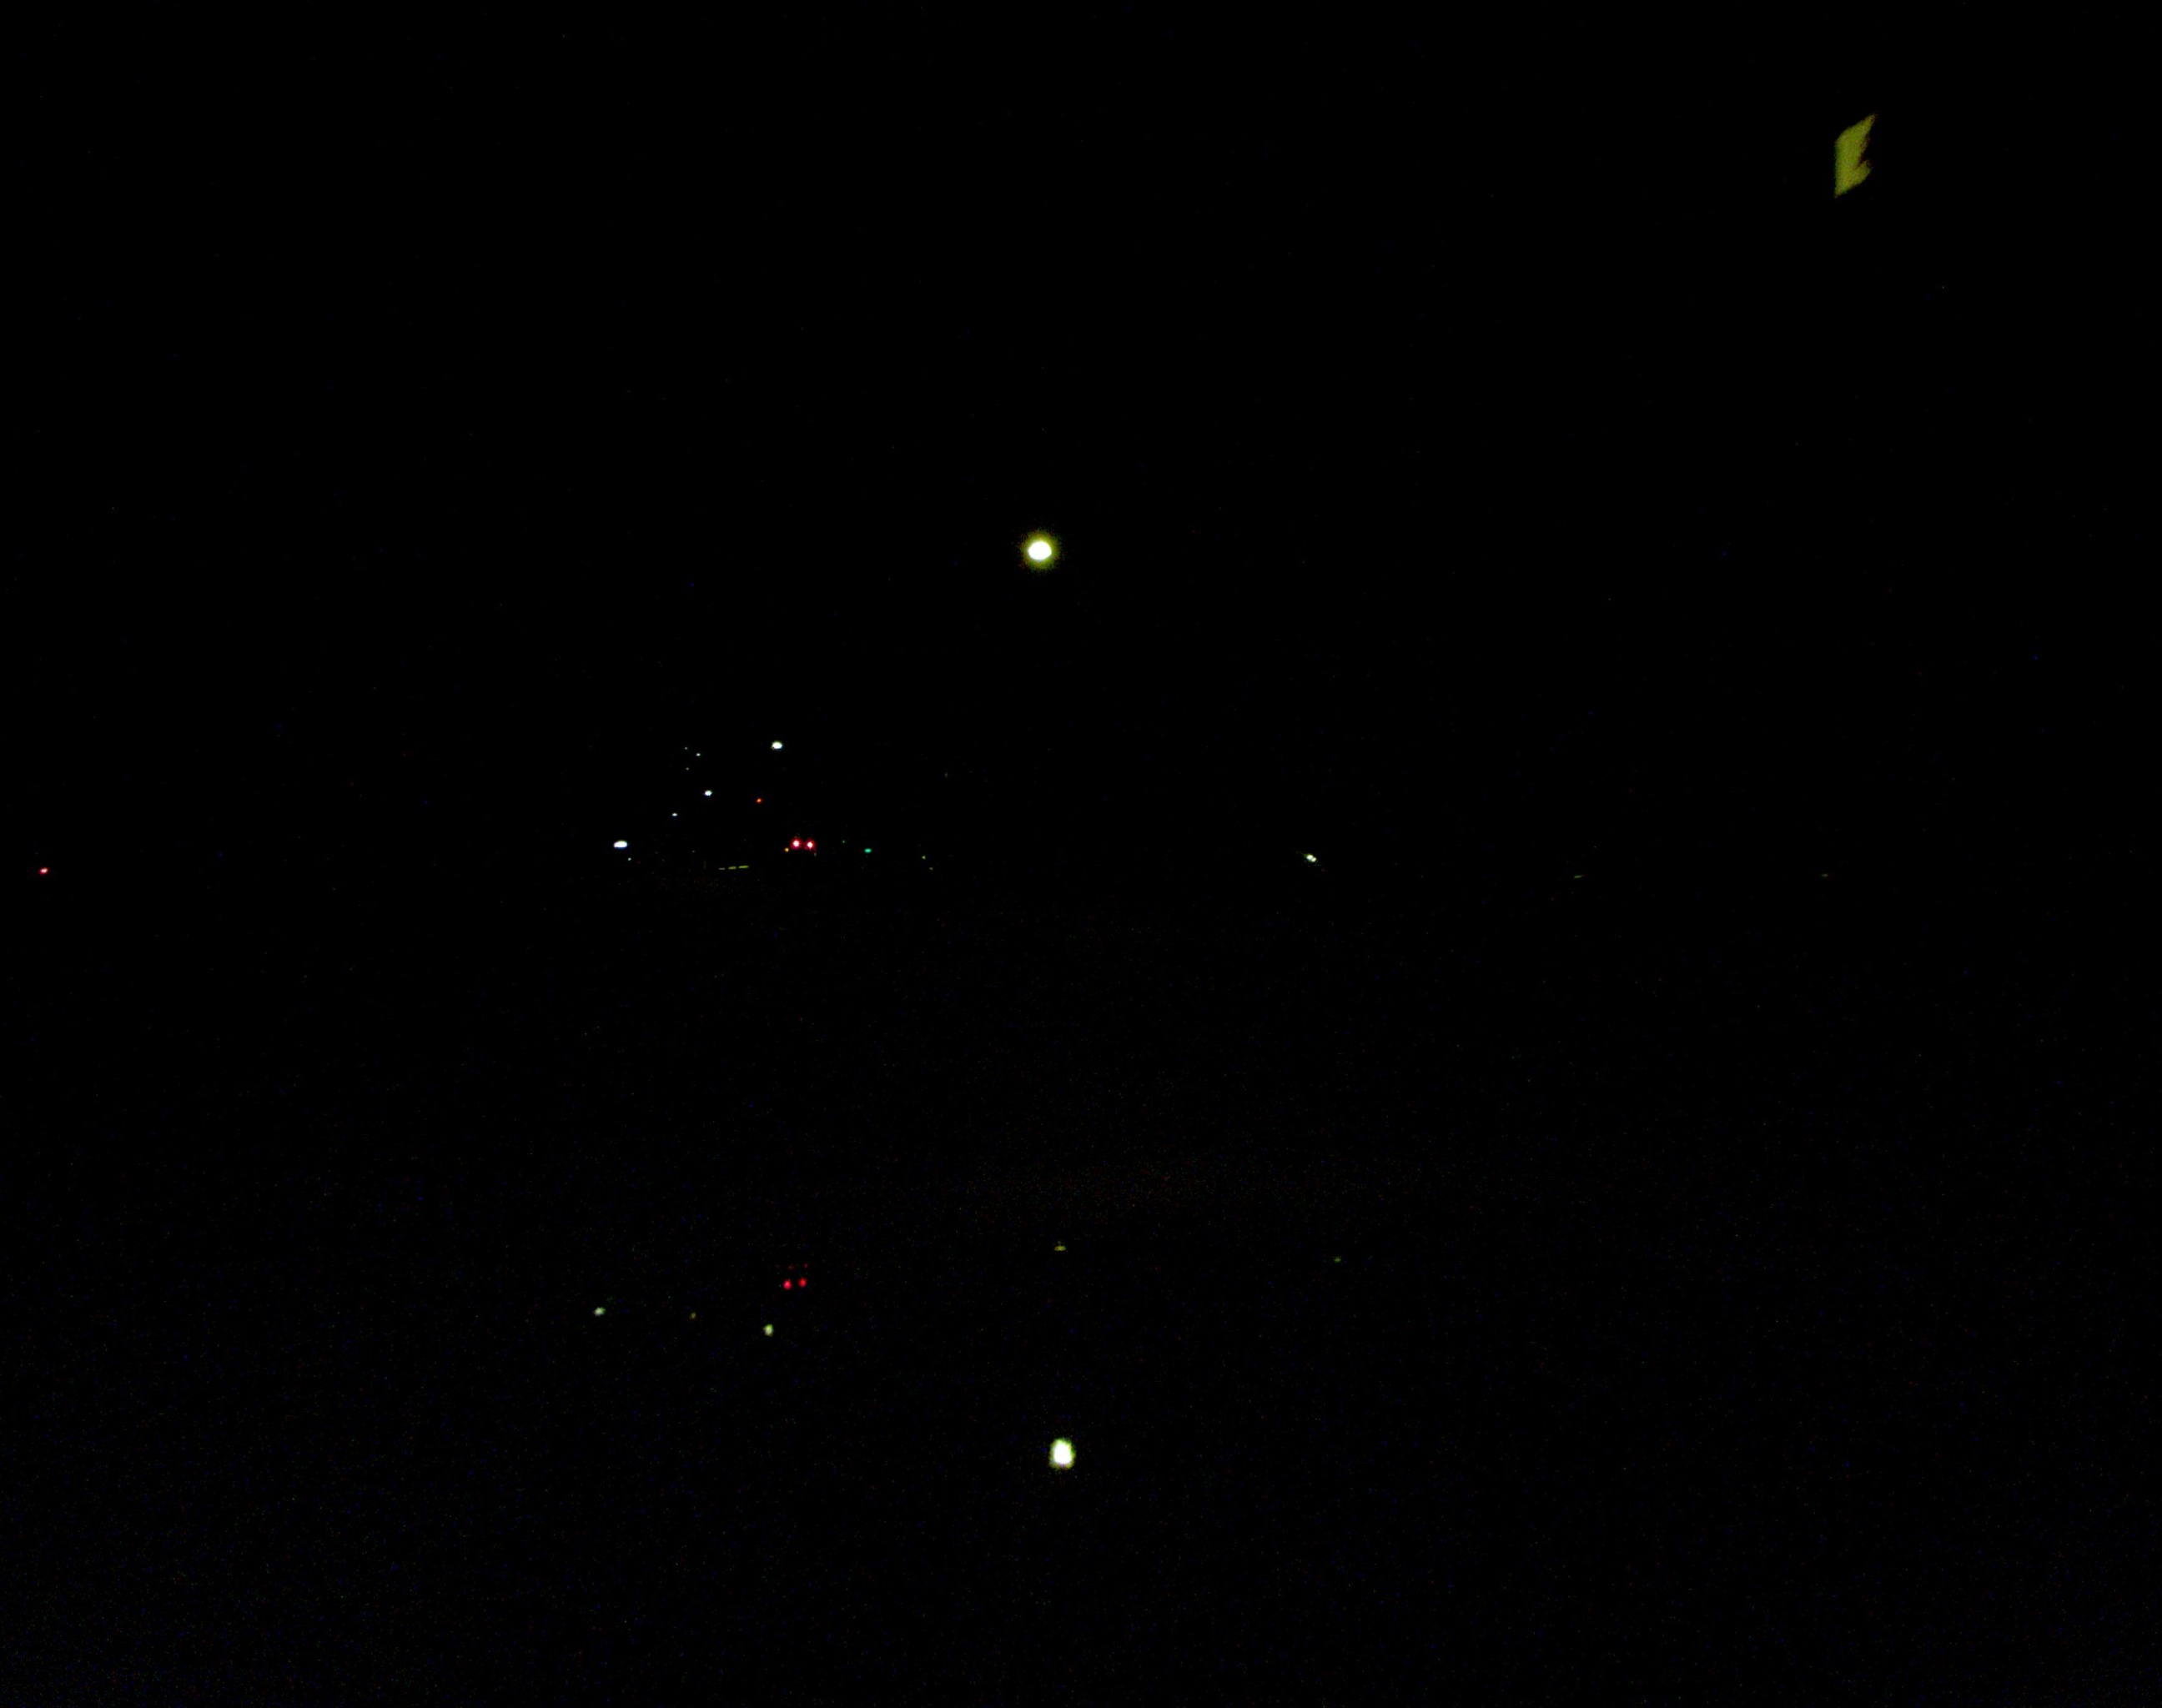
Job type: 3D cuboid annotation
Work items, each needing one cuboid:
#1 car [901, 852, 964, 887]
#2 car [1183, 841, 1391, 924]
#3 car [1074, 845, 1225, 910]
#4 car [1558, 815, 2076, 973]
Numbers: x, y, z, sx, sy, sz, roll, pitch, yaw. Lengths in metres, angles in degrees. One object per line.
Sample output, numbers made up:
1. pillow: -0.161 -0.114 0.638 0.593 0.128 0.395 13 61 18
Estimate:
1. car: -6.829 0.697 34.771 1.636 1.456 3.506 -3 1 -32
2. car: 4.288 0.545 16.475 1.558 1.426 4.337 -7 3 -32
3. car: 1.725 0.593 20.637 1.645 1.426 4.339 -7 3 -33
4. car: 8.879 0.391 9.616 1.869 1.425 4.392 -6 2 -34
